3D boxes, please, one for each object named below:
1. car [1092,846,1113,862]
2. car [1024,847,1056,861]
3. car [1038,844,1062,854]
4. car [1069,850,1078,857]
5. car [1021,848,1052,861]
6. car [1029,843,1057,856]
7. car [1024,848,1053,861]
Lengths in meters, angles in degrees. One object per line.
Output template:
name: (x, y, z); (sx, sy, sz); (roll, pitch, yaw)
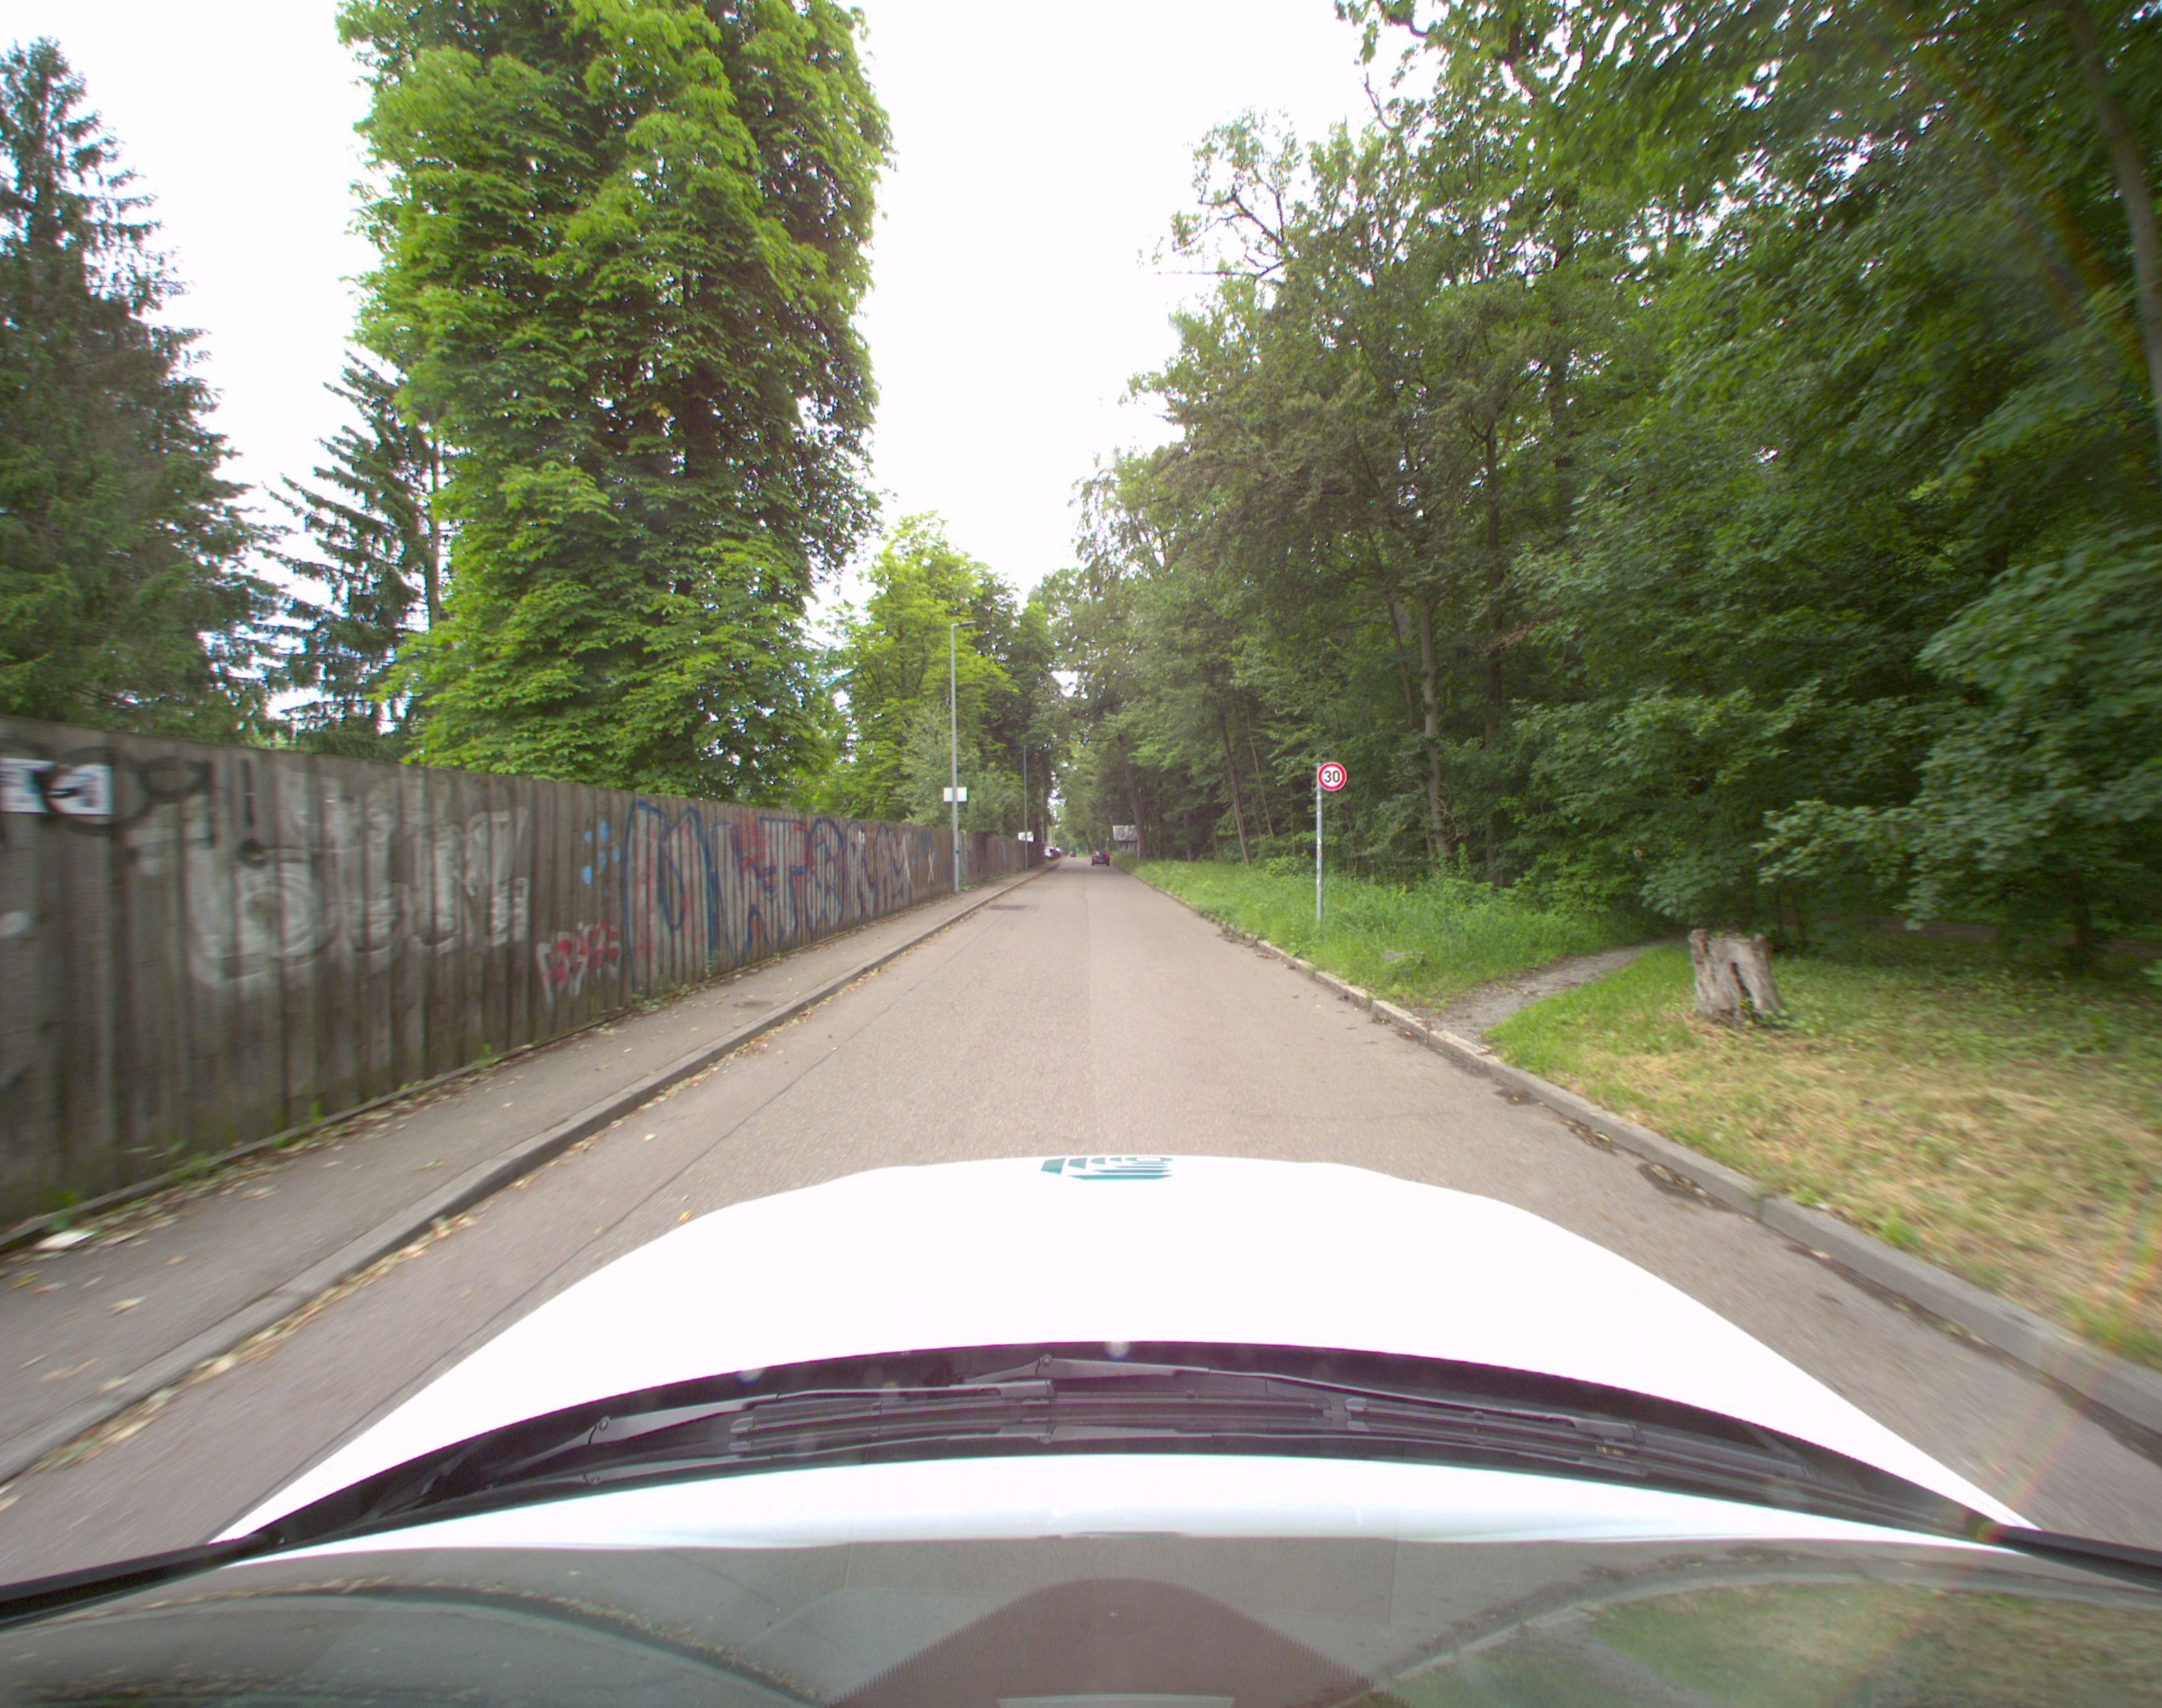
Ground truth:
car: (2.086, 0.017, 78.492); (1.901, 1.508, 4.001); (2, 0, 1)
car: (-5.205, -0.020, 103.275); (3.979, 1.574, 1.997); (-1, 0, -4)
car: (-5.151, -0.808, 135.215); (3.975, 1.596, 1.764); (-2, 0, -1)
car: (-2.101, -0.124, 214.414); (1.991, 2.013, 3.992); (-1, 0, -5)
car: (-5.769, 0.100, 105.599); (3.979, 1.574, 1.997); (-1, 0, -4)
car: (-5.403, -0.641, 116.159); (3.979, 1.750, 1.997); (-1, 0, -4)
car: (-5.784, 0.059, 111.225); (3.979, 1.574, 1.997); (-1, 0, -4)
